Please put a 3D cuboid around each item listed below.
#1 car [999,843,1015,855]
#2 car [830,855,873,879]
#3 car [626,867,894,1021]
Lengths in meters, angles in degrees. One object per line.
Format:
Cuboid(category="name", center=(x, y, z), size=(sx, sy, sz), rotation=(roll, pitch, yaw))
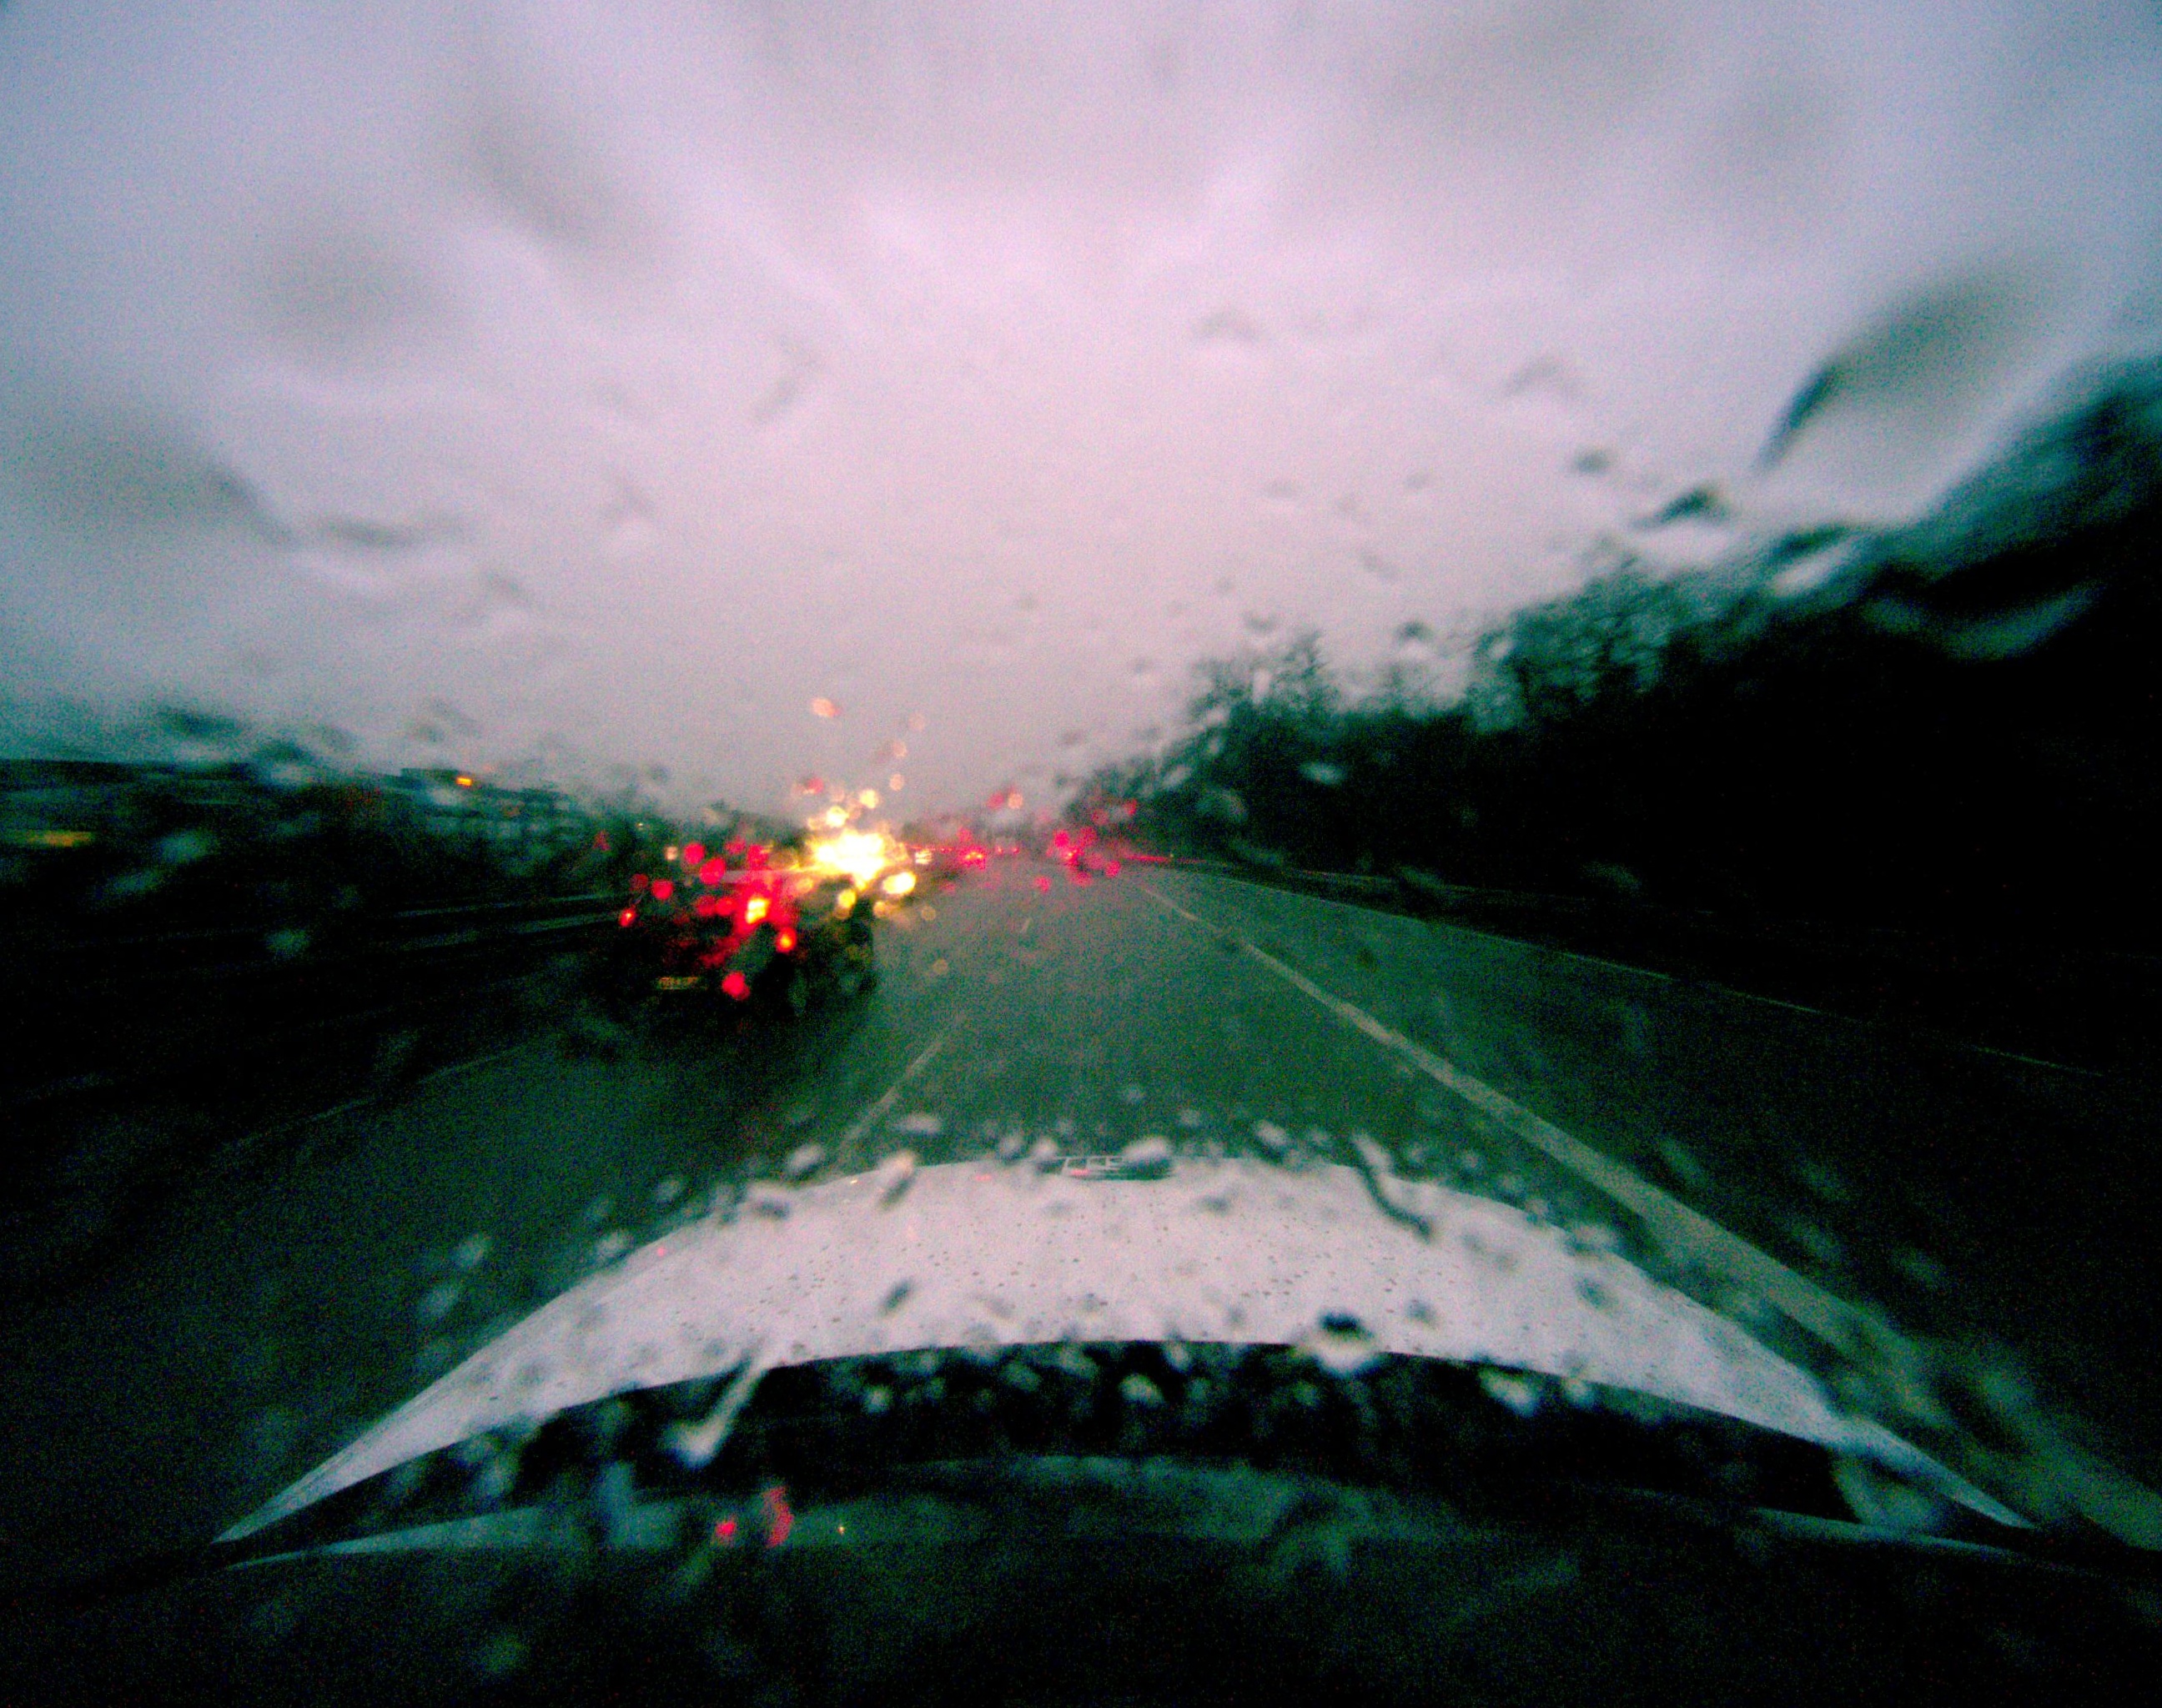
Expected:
Cuboid(category="car", center=(-8.532, -0.609, 93.807), size=(1.410, 1.317, 3.086), rotation=(1, 0, 4))
Cuboid(category="car", center=(-17.617, 0.970, 62.733), size=(1.787, 1.683, 4.691), rotation=(-2, 0, 2))
Cuboid(category="car", center=(-3.395, 0.859, 9.466), size=(1.621, 1.392, 3.996), rotation=(1, -1, -2))
